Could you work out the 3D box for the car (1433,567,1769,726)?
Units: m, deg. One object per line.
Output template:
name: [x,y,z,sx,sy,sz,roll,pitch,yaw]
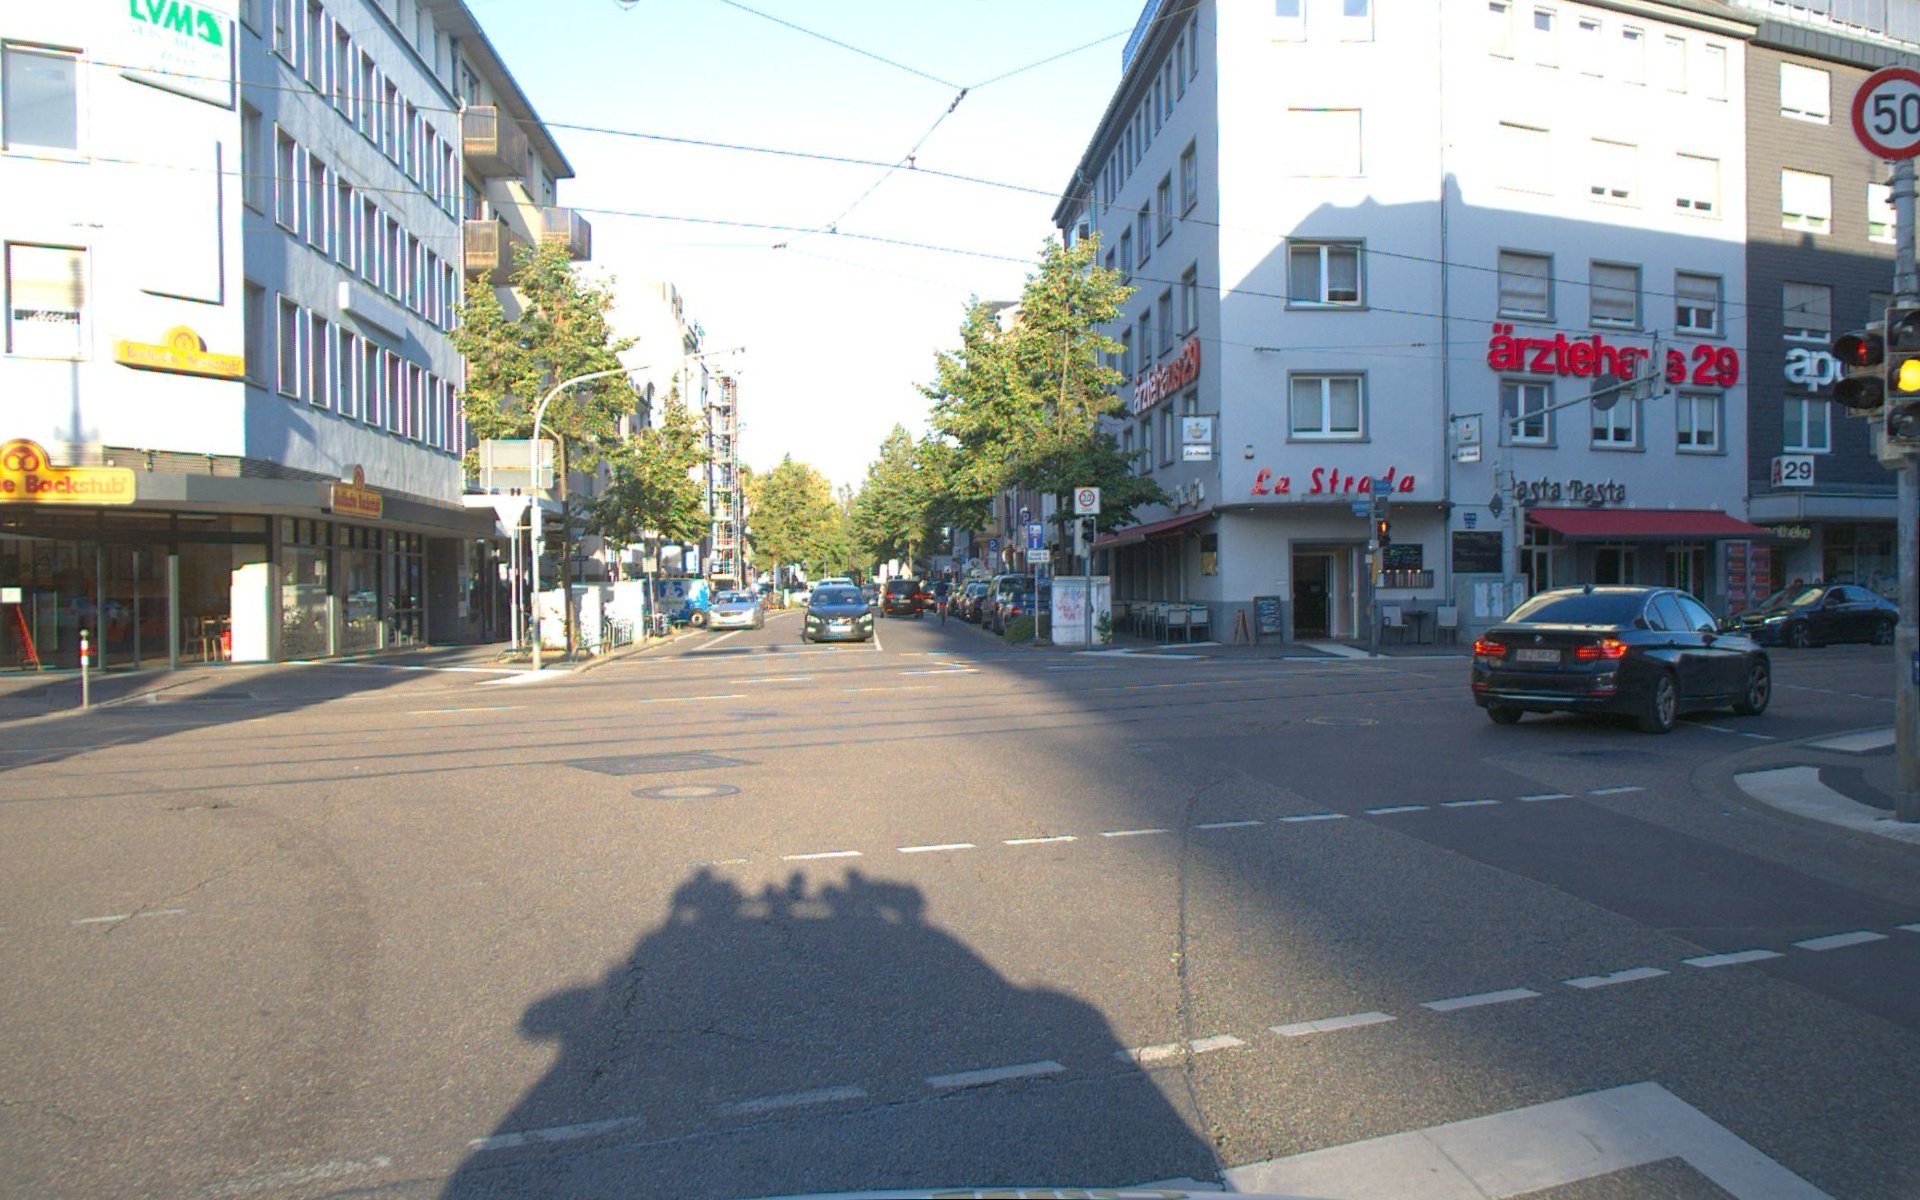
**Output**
car: [6.894,0.383,17.508,1.964,1.444,4.485,1,1,41]
